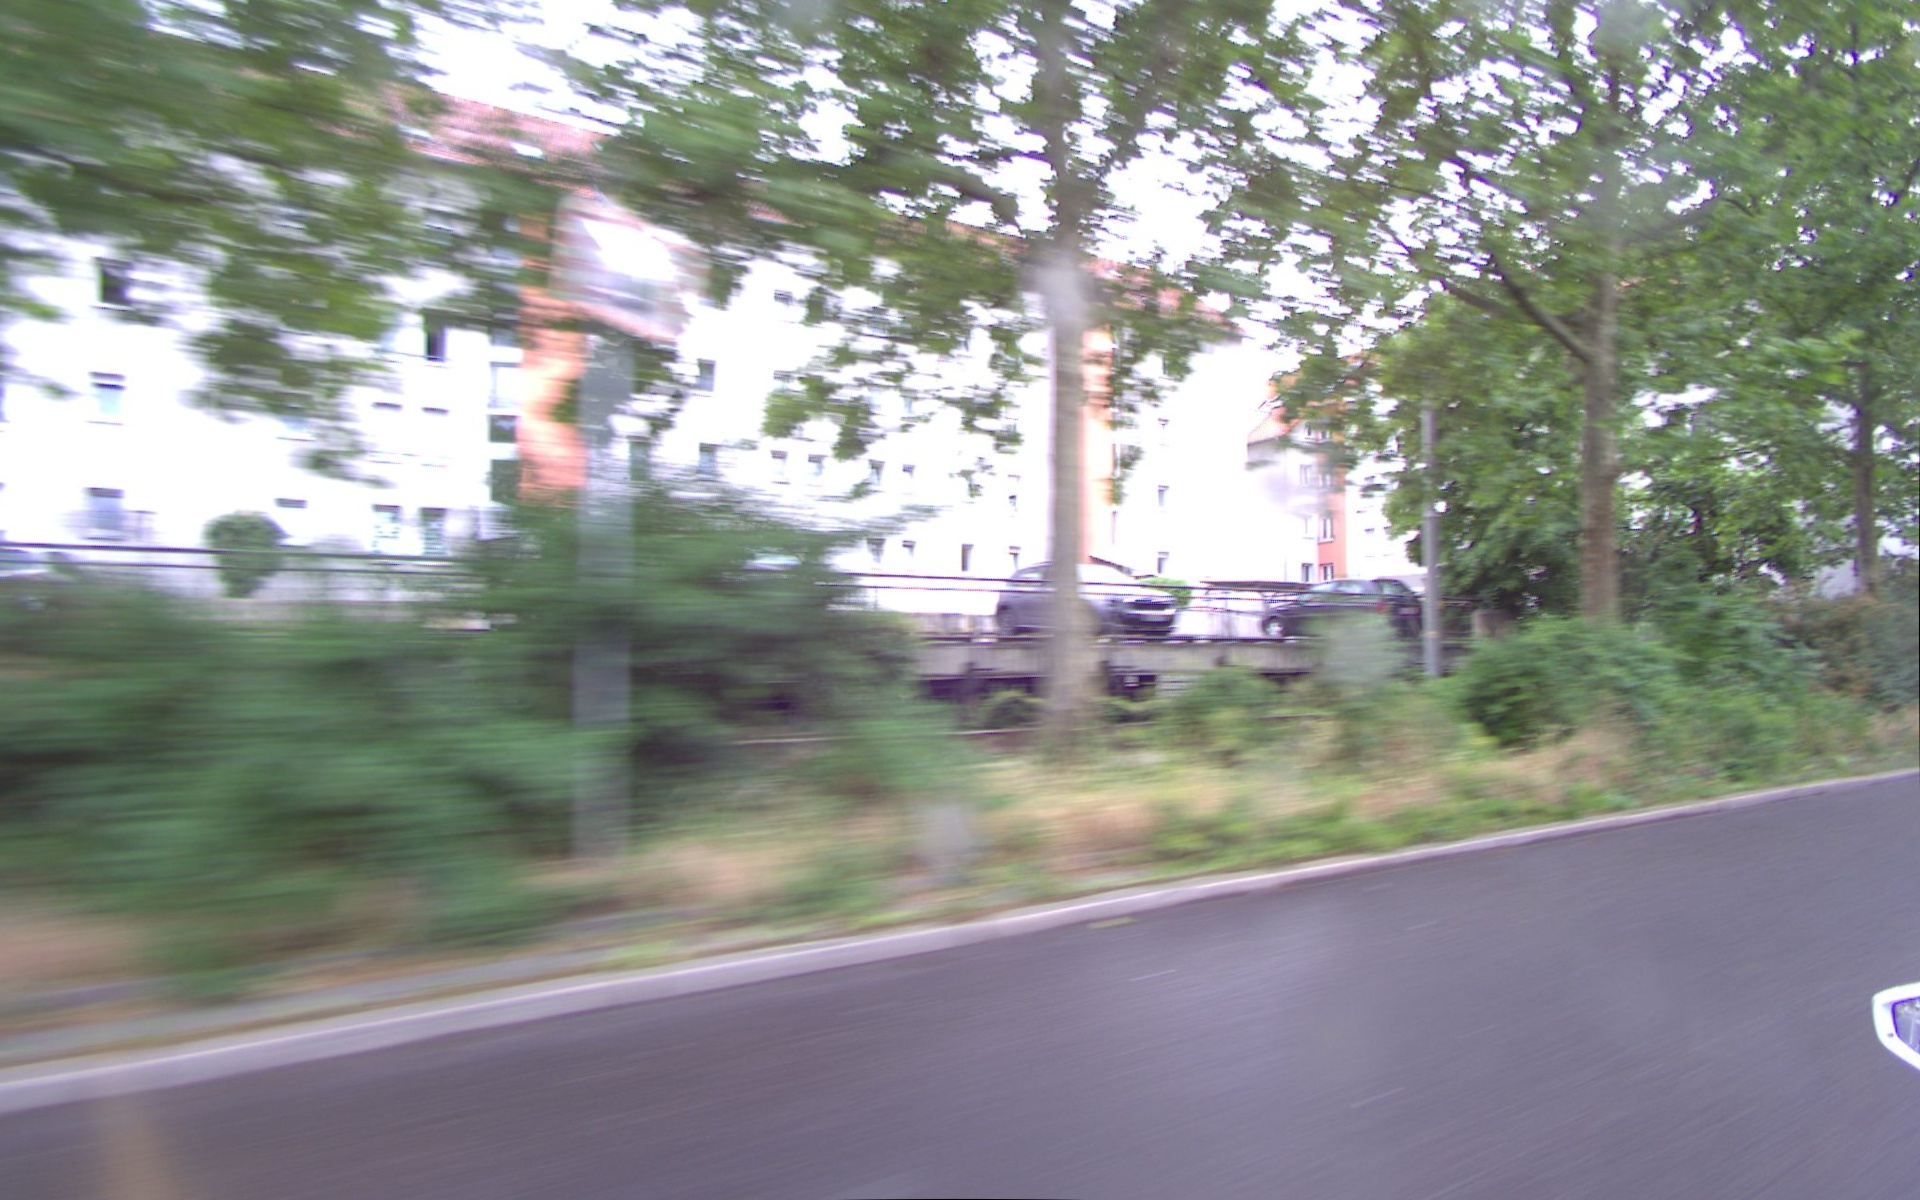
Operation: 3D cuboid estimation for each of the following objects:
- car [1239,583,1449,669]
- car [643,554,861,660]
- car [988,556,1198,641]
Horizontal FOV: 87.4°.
[{"bbox_3d":[8.381,0.554,22.258,1.977,1.693,3.967,3,-2,-30],"label":"car"},{"bbox_3d":[-3.282,0.145,15.134,1.837,1.340,4.421,1,-2,-31],"label":"car"},{"bbox_3d":[2.356,0.040,18.755,1.811,1.392,3.966,1,-2,-31],"label":"car"}]
